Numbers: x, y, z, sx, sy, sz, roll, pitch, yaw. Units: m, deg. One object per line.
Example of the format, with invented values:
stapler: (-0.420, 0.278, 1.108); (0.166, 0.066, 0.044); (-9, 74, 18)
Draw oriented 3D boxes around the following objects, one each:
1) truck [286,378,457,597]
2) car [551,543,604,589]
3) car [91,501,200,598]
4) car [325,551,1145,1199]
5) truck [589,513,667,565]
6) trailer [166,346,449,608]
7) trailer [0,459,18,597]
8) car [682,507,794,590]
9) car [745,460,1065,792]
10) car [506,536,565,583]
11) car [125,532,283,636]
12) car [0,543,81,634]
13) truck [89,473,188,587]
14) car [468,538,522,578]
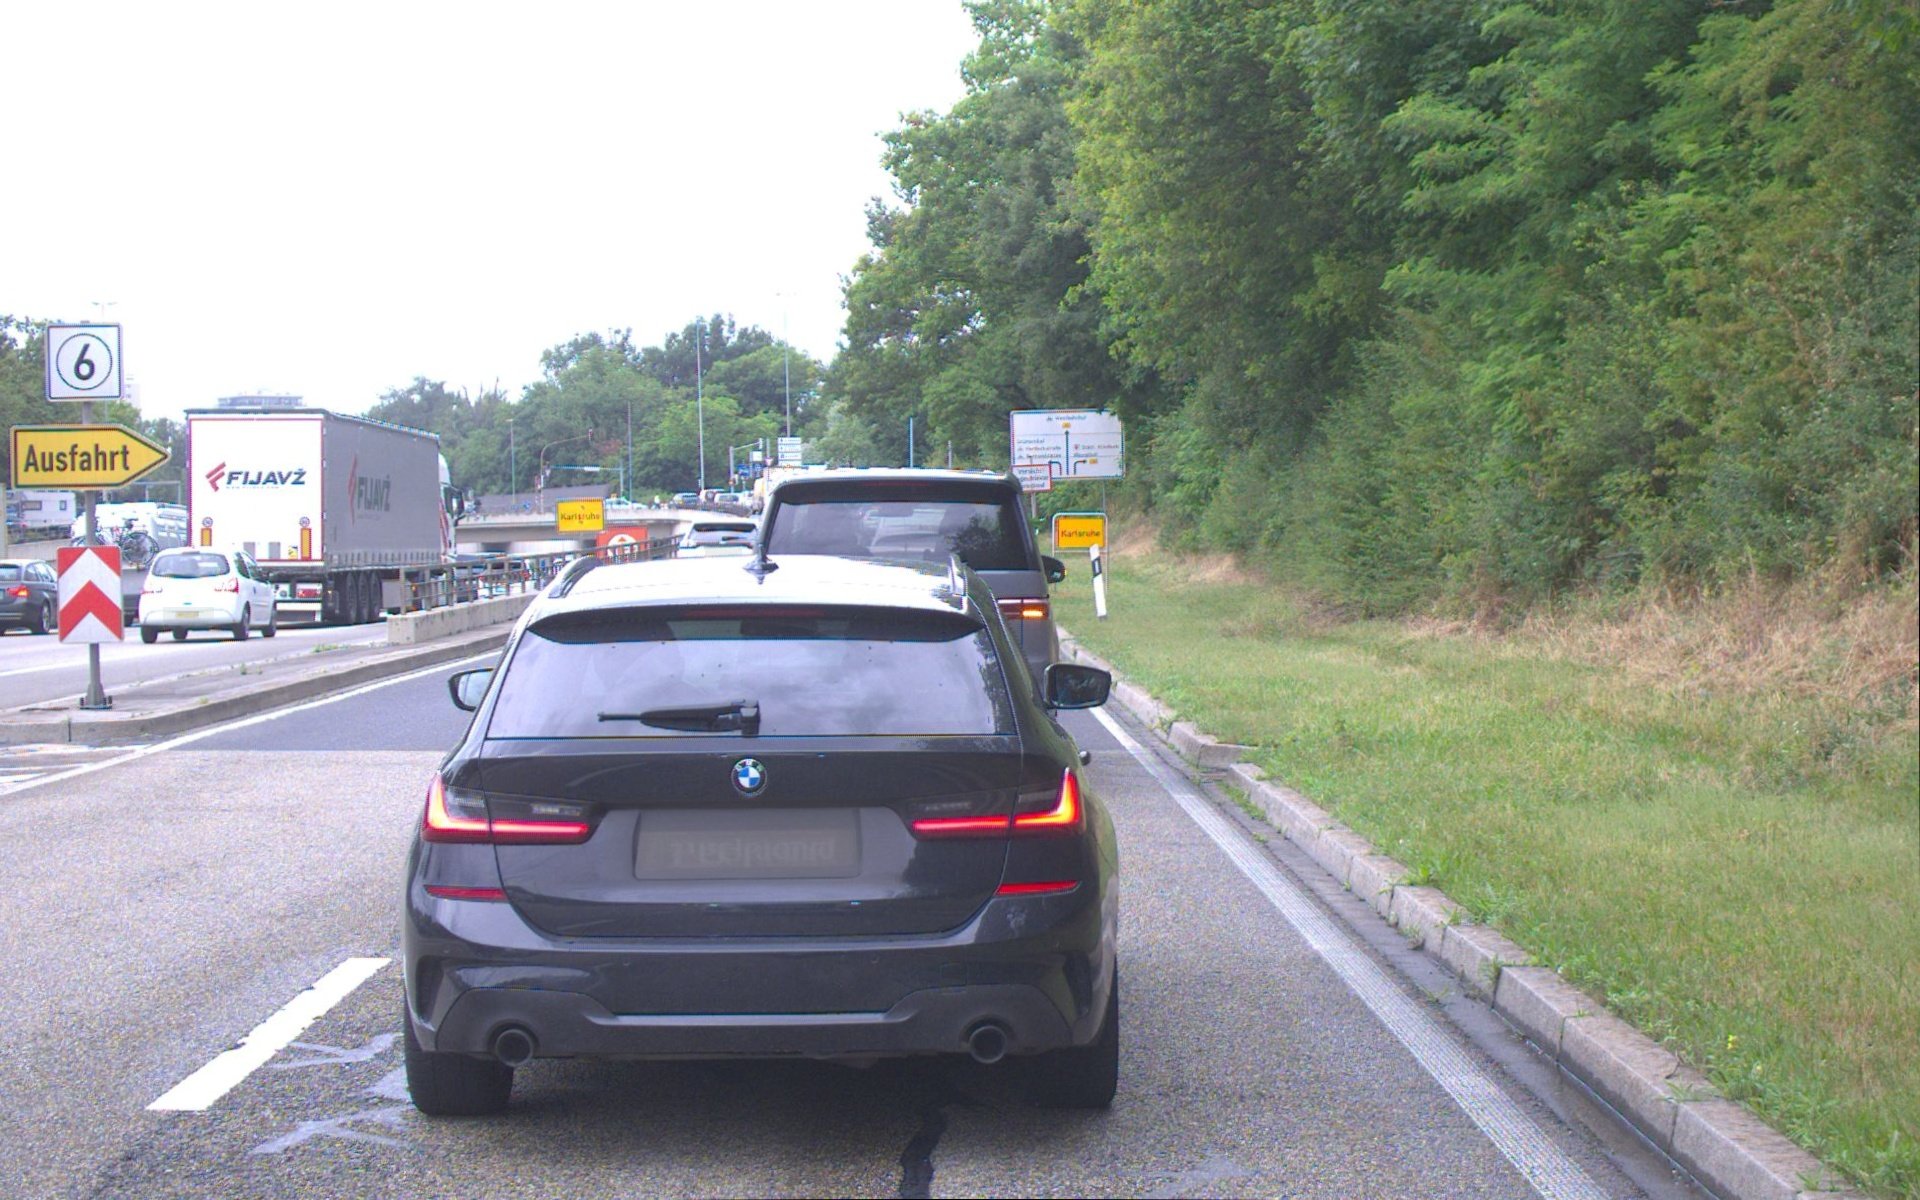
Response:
truck: (-12.939, -2.443, 75.924); (3.083, 4.681, 4.232); (0, 1, -1)
car: (-12.960, -1.158, 116.605); (1.448, 1.485, 3.062); (-1, 1, 0)
car: (-17.616, -1.104, 74.452); (1.443, 2.037, 3.680); (-1, 1, 0)
car: (-0.580, 0.608, 9.788); (1.846, 1.461, 4.001); (0, 1, -2)
truck: (-16.703, -3.104, 173.307); (3.274, 2.500, 7.661); (-1, 1, -1)
trailer: (-12.865, -2.347, 69.370); (3.132, 4.709, 14.559); (0, 1, -1)
trailer: (-28.988, -1.980, 95.319); (2.397, 4.015, 13.079); (-1, 1, -1)
car: (-4.402, -1.043, 68.628); (1.931, 1.590, 3.877); (-1, 1, 1)
car: (-0.324, 0.108, 21.405); (1.796, 1.865, 4.000); (0, 1, 0)
car: (-13.100, -1.256, 106.193); (1.377, 1.393, 3.062); (-1, 1, 0)
car: (-11.821, -0.279, 53.948); (1.768, 1.544, 3.493); (-1, 1, -2)
car: (-17.637, -0.239, 63.979); (1.687, 1.626, 3.735); (1, 1, -2)
truck: (-29.495, -2.516, 123.583); (2.596, 3.977, 4.000); (-1, 1, -1)
car: (-17.491, -1.582, 129.338); (1.593, 1.427, 3.062); (-1, 1, 0)
